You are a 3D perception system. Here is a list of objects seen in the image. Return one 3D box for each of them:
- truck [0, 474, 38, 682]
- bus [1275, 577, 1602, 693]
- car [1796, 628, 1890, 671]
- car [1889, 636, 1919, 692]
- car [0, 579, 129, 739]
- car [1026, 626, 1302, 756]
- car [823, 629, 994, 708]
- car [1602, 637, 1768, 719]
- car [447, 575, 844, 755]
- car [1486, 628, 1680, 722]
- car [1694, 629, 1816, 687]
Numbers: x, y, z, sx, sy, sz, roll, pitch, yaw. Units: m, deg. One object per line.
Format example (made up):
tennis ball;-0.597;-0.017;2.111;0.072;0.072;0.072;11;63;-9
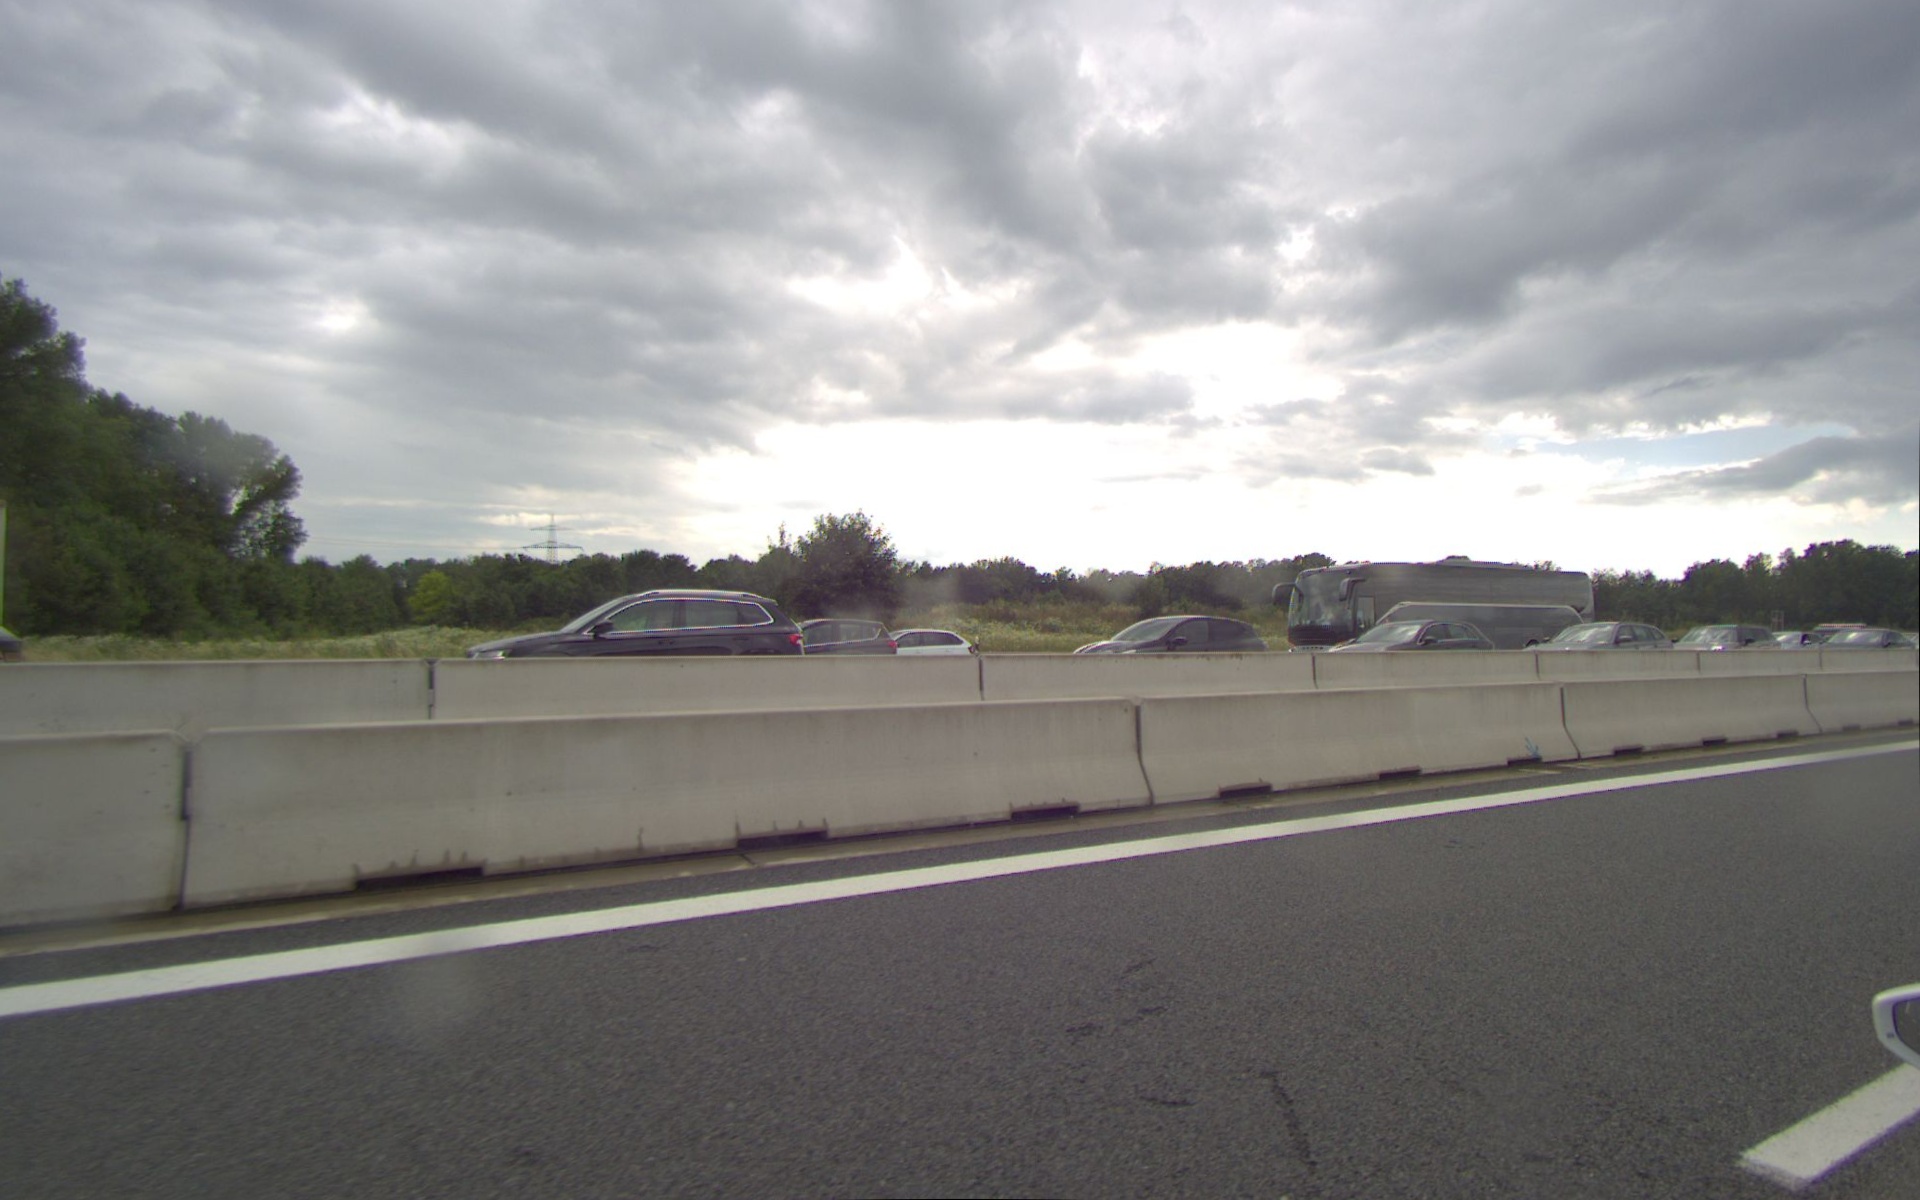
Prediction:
truck;-23.468;-0.526;15.502;13.144;3.795;3.133;1;0;-31
bus;16.643;1.169;34.164;13.832;3.430;2.674;1;0;-30
car;44.395;2.462;50.496;4.765;2.040;1.986;1;0;-28
car;37.735;2.446;38.314;4.913;2.040;1.984;1;0;-30
car;-13.416;0.672;12.157;4.874;1.929;1.983;1;0;-31
car;3.652;1.499;17.759;4.641;1.993;1.984;1;0;-30
car;-1.435;1.870;28.333;4.372;2.040;1.984;1;0;-30
car;19.954;2.067;27.620;4.641;2.040;1.984;1;0;-30
car;-4.059;0.763;13.144;4.641;1.993;1.984;1;0;-30
car;14.877;1.703;23.941;4.641;1.993;1.984;1;0;-30
car;29.660;2.116;37.439;4.641;1.993;1.984;1;0;-30
